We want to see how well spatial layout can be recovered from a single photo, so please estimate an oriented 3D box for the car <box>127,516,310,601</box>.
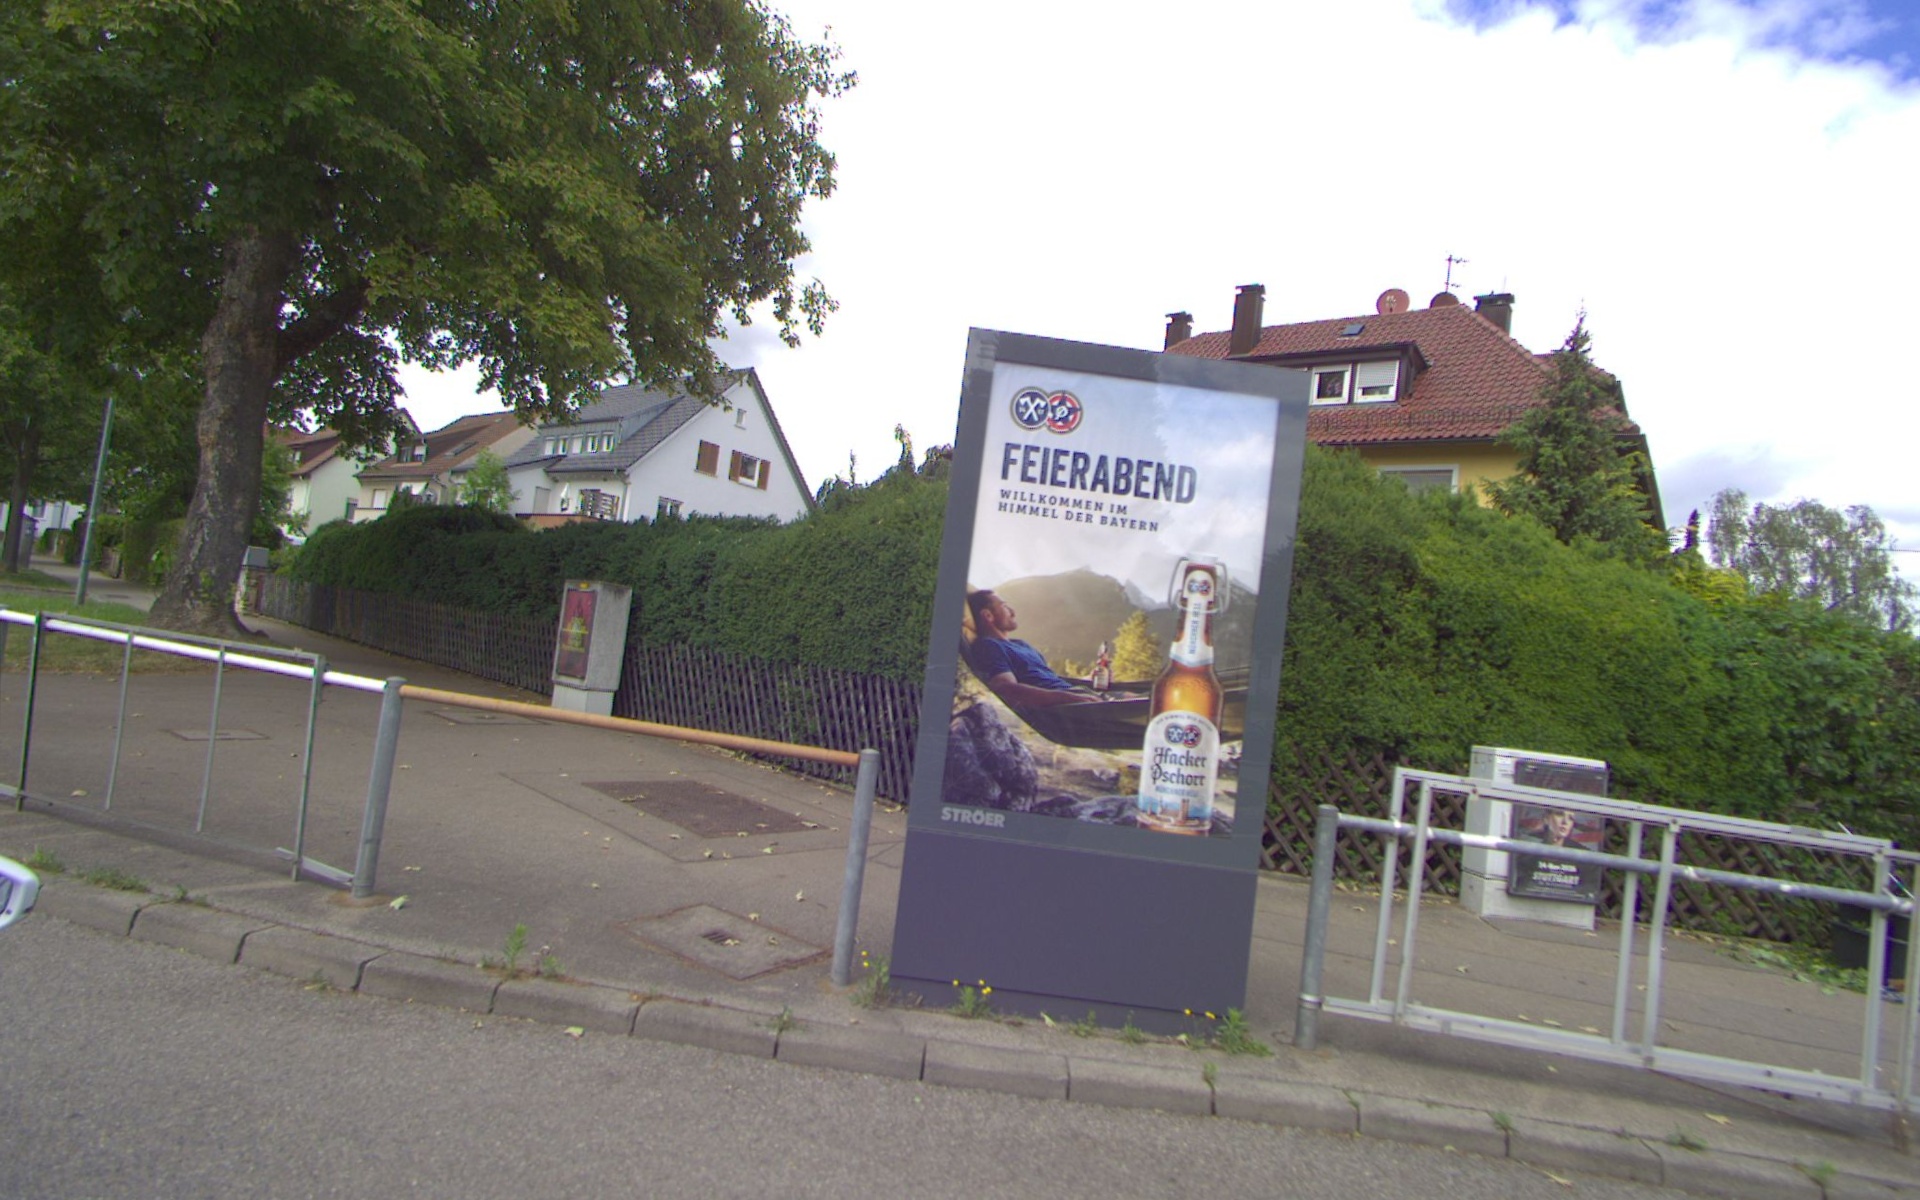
[{"bbox_3d":[-31.233,-1.683,42.581,1.968,2.621,5.716,6,-3,38],"label":"car"}]
